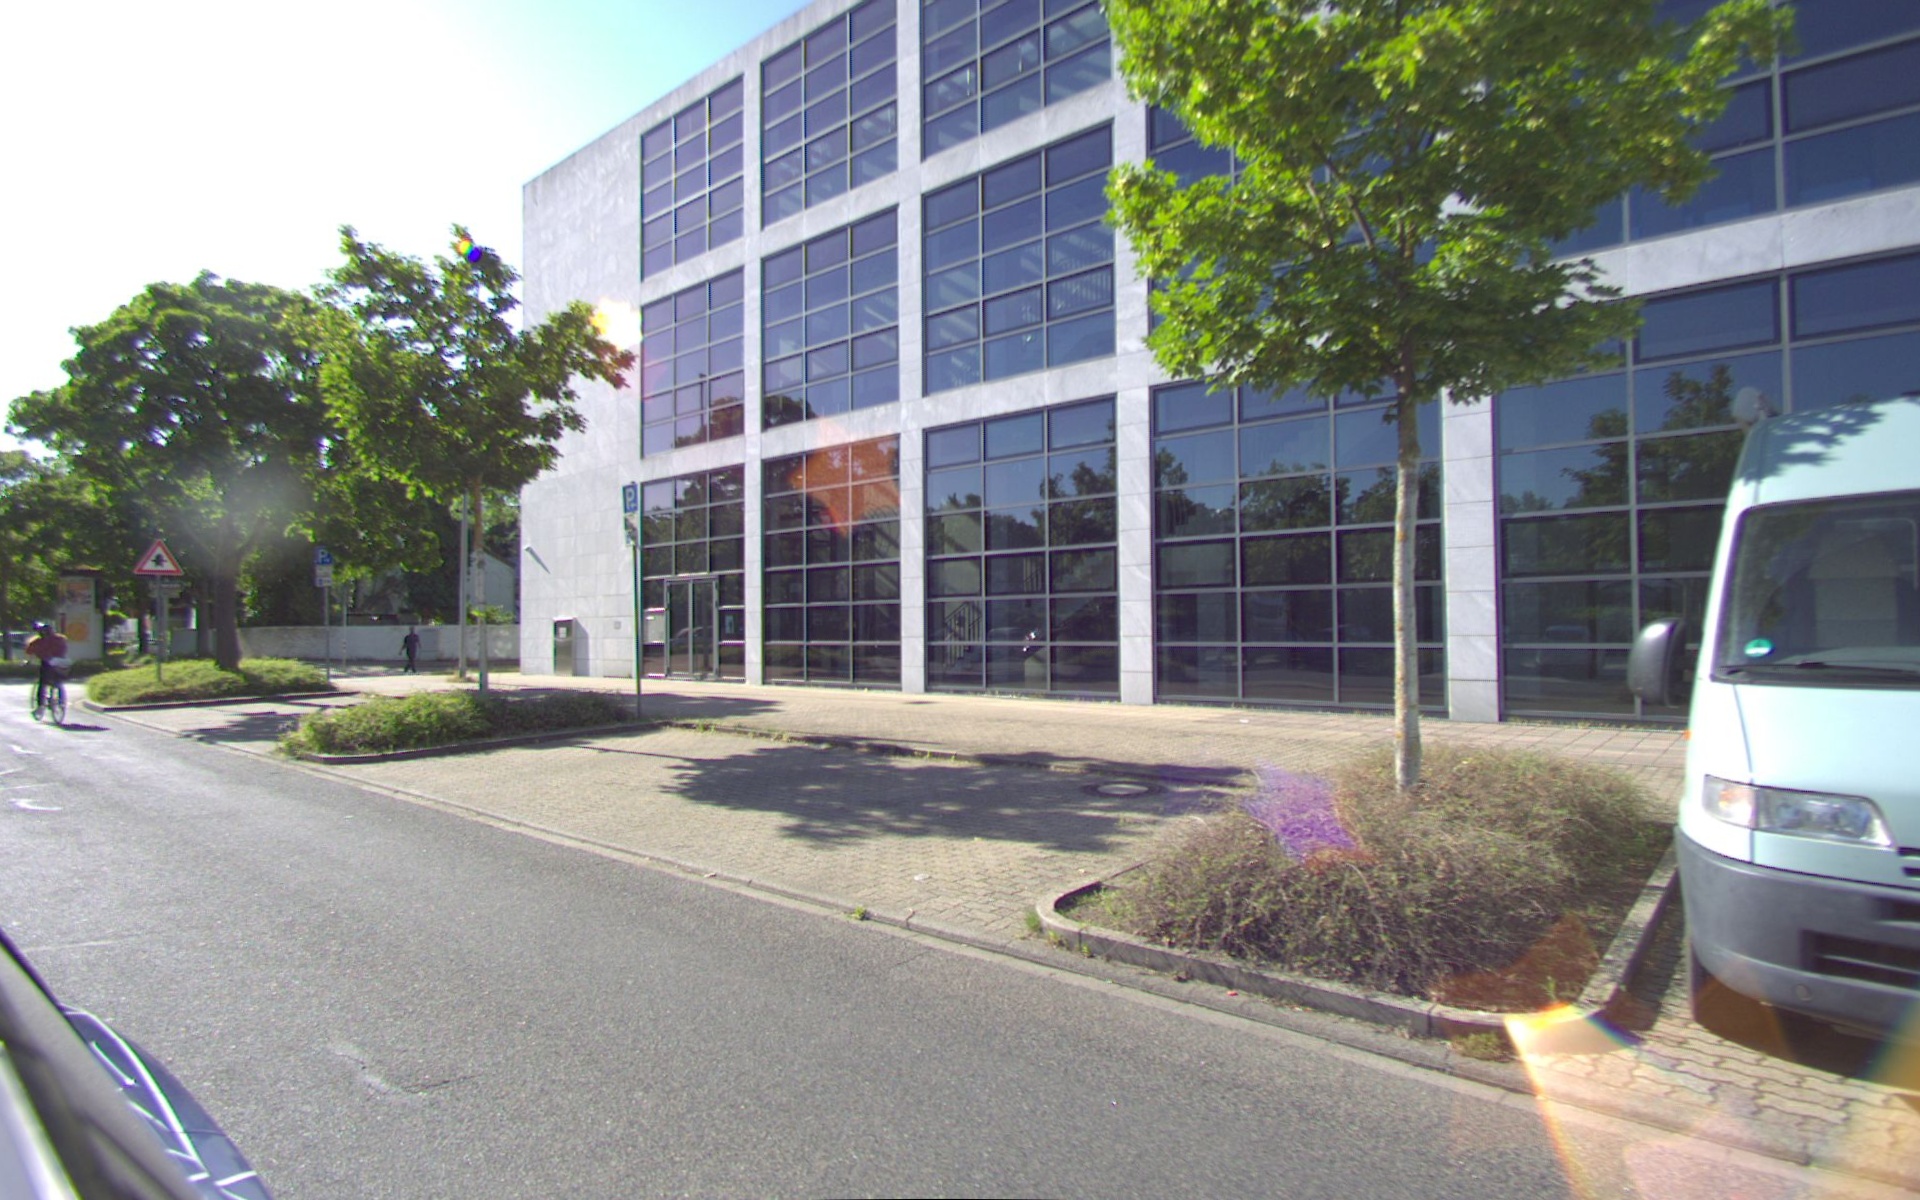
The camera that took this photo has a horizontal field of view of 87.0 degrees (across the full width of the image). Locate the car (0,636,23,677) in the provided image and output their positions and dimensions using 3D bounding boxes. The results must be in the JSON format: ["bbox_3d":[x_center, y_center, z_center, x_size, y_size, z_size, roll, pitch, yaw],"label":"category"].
[{"bbox_3d":[-57.999,3.320,58.715,1.998,2.397,5.067,-4,-4,39],"label":"car"}]

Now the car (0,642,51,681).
[{"bbox_3d":[-49.976,3.187,52.021,1.998,2.006,4.574,-4,-4,39],"label":"car"}]

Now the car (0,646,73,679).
[{"bbox_3d":[-44.281,2.940,46.904,1.828,1.417,4.623,-3,-1,42],"label":"car"}]

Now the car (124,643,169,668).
[{"bbox_3d":[-53.512,3.646,66.529,4.146,1.626,1.809,-3,-5,45],"label":"car"}]

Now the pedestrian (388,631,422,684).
[{"bbox_3d":[-18.077,1.874,32.968,0.825,1.697,0.809,2,-4,-36],"label":"pedestrian"}]

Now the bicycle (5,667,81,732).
[{"bbox_3d":[-15.601,1.666,17.205,1.871,1.010,0.749,-3,-5,43],"label":"bicycle"}]

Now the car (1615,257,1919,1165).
[{"bbox_3d":[4.596,0.250,4.384,2.122,2.437,5.193,-3,-1,42],"label":"car"}]

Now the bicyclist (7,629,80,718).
[{"bbox_3d":[-15.579,1.236,17.204,1.132,1.443,0.749,-3,-5,42],"label":"bicyclist"}]
